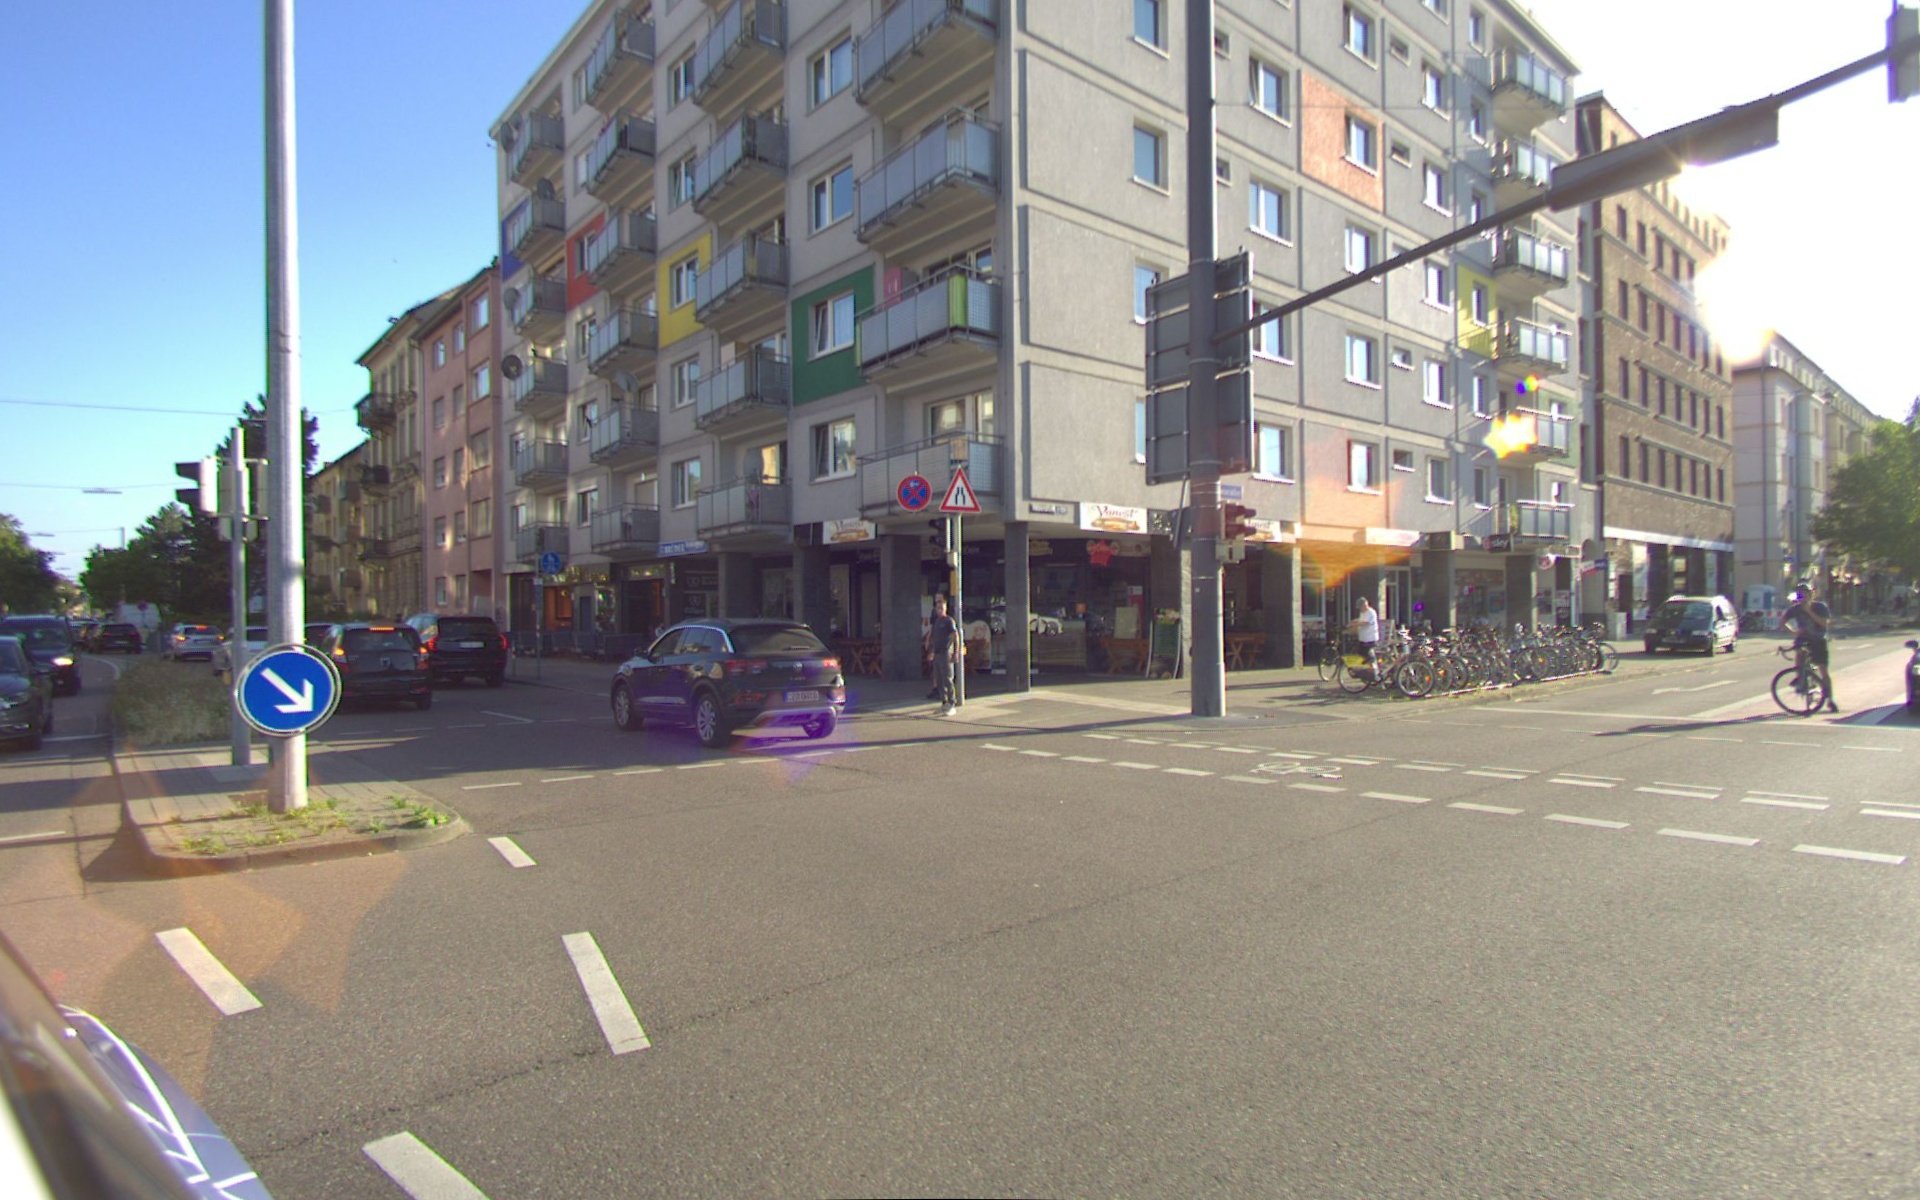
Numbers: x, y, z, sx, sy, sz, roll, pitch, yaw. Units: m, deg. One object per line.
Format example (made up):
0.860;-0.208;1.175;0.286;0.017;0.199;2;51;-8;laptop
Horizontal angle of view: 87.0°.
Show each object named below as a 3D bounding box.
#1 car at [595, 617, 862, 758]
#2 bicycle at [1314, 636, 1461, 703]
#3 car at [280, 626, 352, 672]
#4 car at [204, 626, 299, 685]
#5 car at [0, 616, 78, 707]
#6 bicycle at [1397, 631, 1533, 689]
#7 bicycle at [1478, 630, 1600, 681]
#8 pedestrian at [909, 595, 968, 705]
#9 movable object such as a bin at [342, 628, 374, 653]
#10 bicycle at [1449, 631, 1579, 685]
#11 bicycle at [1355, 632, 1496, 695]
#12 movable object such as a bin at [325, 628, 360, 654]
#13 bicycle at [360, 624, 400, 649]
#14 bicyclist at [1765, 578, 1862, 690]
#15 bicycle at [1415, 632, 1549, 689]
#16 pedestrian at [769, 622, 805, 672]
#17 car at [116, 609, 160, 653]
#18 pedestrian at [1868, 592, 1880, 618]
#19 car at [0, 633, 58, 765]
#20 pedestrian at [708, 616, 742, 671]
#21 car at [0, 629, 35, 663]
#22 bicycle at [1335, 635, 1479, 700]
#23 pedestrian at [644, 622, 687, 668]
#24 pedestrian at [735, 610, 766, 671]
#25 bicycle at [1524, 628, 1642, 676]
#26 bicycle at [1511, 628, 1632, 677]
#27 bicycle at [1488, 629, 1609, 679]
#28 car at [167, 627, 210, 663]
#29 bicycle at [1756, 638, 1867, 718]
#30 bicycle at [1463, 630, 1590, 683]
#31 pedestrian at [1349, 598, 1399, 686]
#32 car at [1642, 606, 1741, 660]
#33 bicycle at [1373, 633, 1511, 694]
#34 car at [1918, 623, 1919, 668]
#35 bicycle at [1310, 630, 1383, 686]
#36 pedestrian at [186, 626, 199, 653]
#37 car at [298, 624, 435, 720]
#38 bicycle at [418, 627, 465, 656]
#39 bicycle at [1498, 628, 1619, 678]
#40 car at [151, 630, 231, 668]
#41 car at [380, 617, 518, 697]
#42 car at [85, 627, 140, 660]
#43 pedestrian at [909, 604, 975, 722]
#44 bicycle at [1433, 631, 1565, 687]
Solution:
-3.246;1.070;13.606;1.772;1.577;4.153;0;-2;-40;car
7.500;1.194;17.863;0.725;1.059;2.303;0;-1;-40;bicycle
-23.111;1.741;36.258;1.654;1.556;3.643;2;-3;-41;car
-20.198;1.543;28.785;1.655;1.556;3.809;2;-3;-43;car
-21.096;1.319;22.727;1.867;1.868;4.473;1;-2;-40;car
9.957;1.155;20.049;0.725;1.059;2.303;0;-1;-40;bicycle
12.846;1.209;22.530;0.554;1.059;2.303;0;-1;-40;bicycle
-0.386;0.888;18.130;0.601;1.889;0.813;-4;1;-39;pedestrian
-30.984;2.087;52.114;0.840;1.242;1.190;-1;-1;10;movable object such as a bin
11.753;1.204;21.550;0.725;1.059;2.303;0;-1;-40;bicycle
8.672;1.160;18.958;0.725;1.059;2.303;0;-1;-40;bicycle
-31.895;2.113;52.314;0.919;1.242;1.288;-1;-1;10;movable object such as a bin
-29.988;1.873;52.339;1.754;1.200;0.474;0;-1;-43;bicycle
12.852;0.510;15.244;0.727;1.610;0.964;1;-3;-40;bicyclist
10.558;1.203;20.552;0.725;1.059;2.303;0;-1;-40;bicycle
-4.713;1.276;27.597;0.801;1.323;0.624;-1;-1;6;pedestrian
-54.021;2.037;66.486;2.104;2.777;4.473;1;-2;-41;car
61.139;0.332;67.700;0.541;1.721;0.492;0;-1;-41;pedestrian
-12.982;1.235;13.102;1.744;1.470;4.277;-2;0;-40;car
-6.440;1.199;27.789;0.657;1.478;0.618;-1;-1;34;pedestrian
-46.875;2.258;49.773;1.878;1.552;4.006;-1;0;-41;car
8.088;1.186;18.404;0.725;1.059;2.303;0;-1;-40;bicycle
-9.044;1.363;31.084;0.959;1.356;0.884;0;-1;-40;pedestrian
-5.904;1.129;28.530;0.652;1.685;0.623;-1;-1;14;pedestrian
14.925;1.216;24.301;0.725;1.059;2.303;0;-1;-40;bicycle
14.329;1.210;23.778;0.725;1.059;2.303;0;-1;-40;bicycle
13.287;1.200;22.912;0.554;1.059;2.303;0;-1;-40;bicycle
-36.421;2.107;47.783;1.515;1.605;2.813;1;-3;-39;car
12.692;1.127;15.079;1.754;1.106;0.953;1;-3;-40;bicycle
12.336;1.206;22.104;0.725;1.059;2.303;0;-1;-40;bicycle
8.548;0.859;20.900;0.601;1.735;0.686;-4;1;-41;pedestrian
22.503;0.960;31.098;3.939;1.519;1.698;0;-1;-43;car
9.244;1.189;19.496;0.725;1.059;2.303;0;-1;-40;bicycle
15.419;0.943;14.731;4.137;1.322;1.803;0;-2;-42;car
8.185;1.204;21.365;2.034;1.100;0.520;1;-3;-41;bicycle
-45.158;2.322;59.560;0.569;1.612;0.482;0;-1;-40;pedestrian
-10.728;1.221;18.201;1.558;1.556;3.483;1;-3;-40;car
-22.748;1.795;44.423;1.754;1.200;0.474;0;-1;-43;bicycle
13.731;1.190;23.277;0.637;1.059;2.303;0;-1;-40;bicycle
-30.448;1.904;40.026;4.100;1.436;1.691;-2;-3;41;car
-12.418;1.321;24.424;1.794;1.724;4.792;2;-3;-42;car
-42.455;2.152;50.663;4.103;1.556;1.657;-2;-3;43;car
-0.290;0.978;16.084;0.600;1.800;0.814;-4;1;-37;pedestrian
11.153;1.192;21.031;0.725;1.059;2.303;0;-1;-40;bicycle
